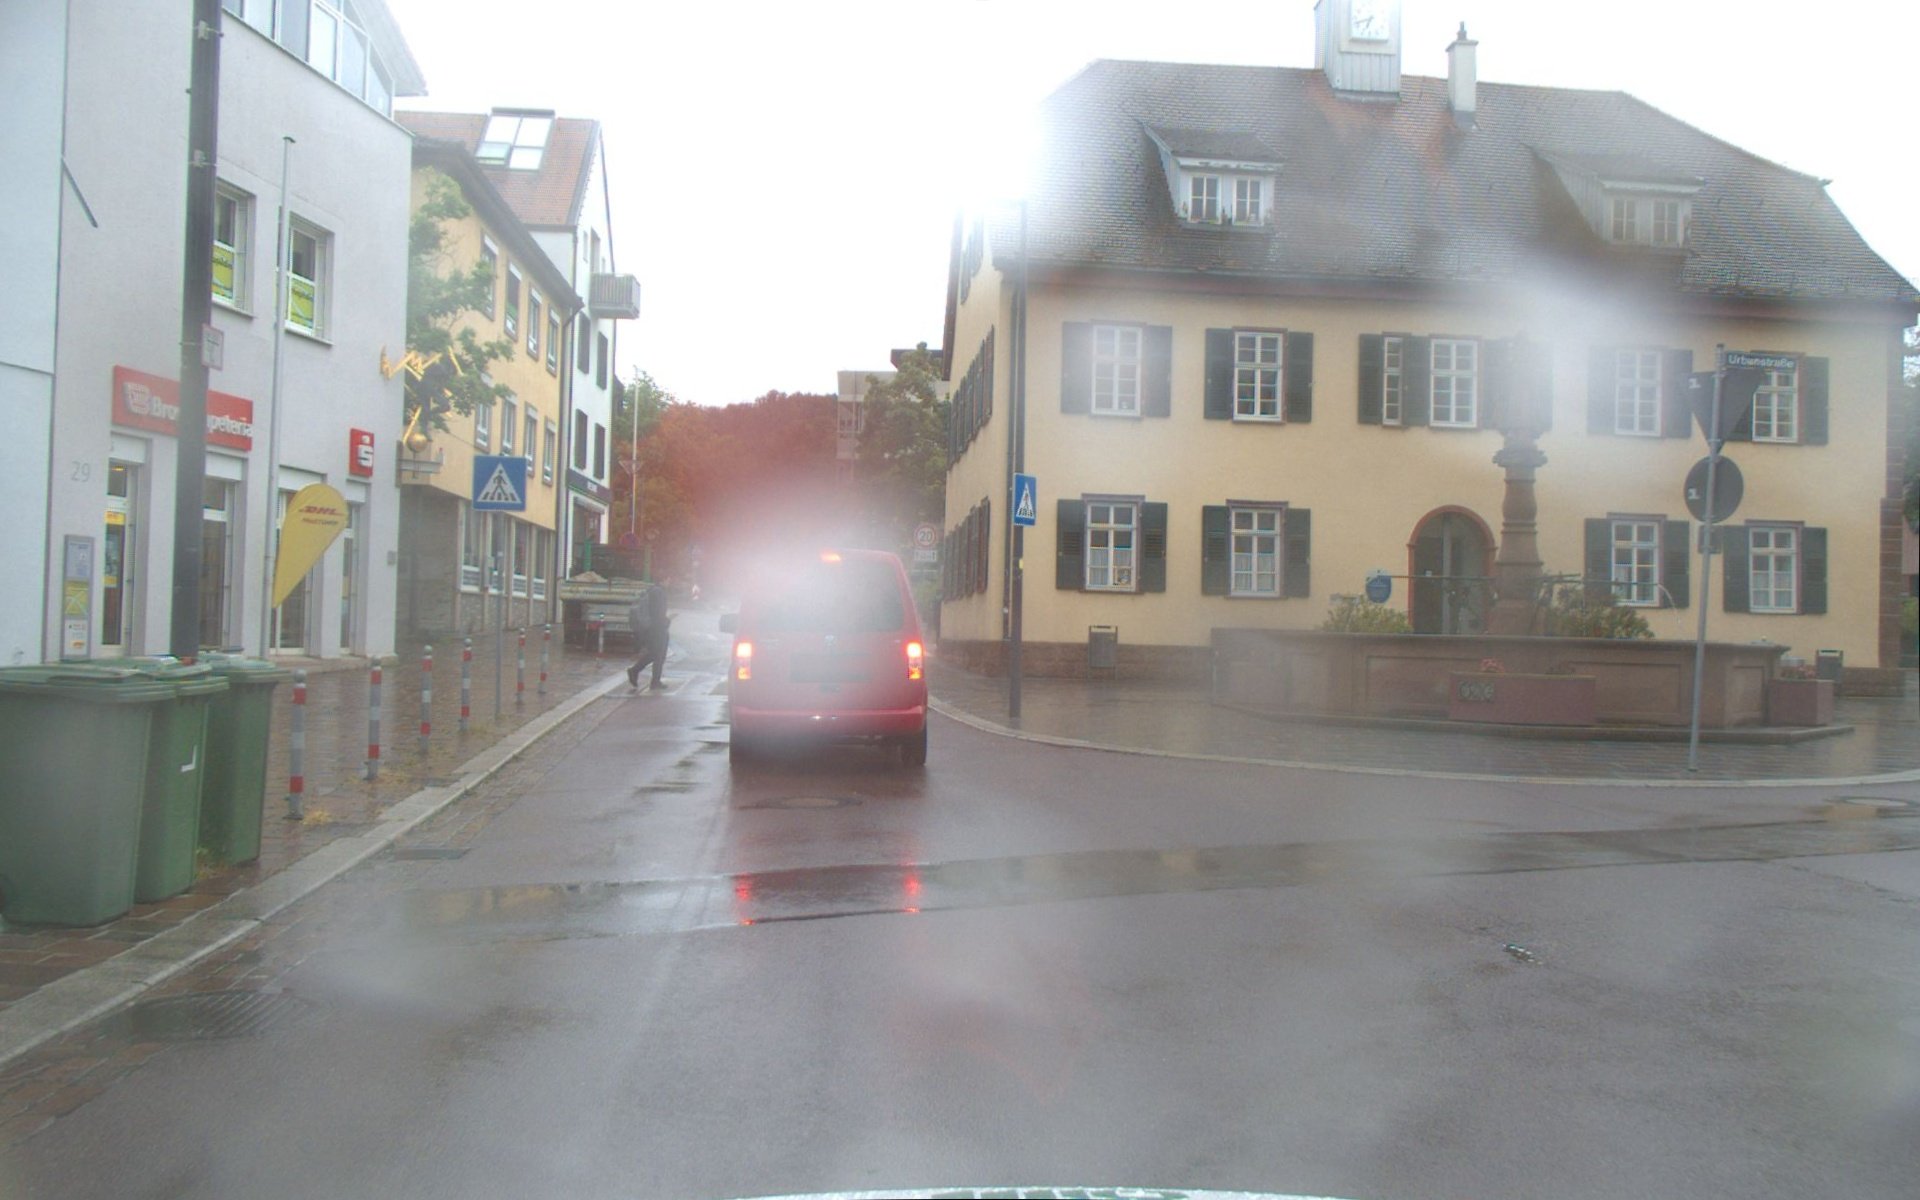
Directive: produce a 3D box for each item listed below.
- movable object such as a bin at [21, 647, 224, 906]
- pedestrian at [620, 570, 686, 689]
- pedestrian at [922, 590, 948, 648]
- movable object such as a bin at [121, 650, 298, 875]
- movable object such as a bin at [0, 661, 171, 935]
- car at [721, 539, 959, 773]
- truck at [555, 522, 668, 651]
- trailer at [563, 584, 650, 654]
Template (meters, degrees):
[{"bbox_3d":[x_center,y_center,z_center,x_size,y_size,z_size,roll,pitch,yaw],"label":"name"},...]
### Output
[{"bbox_3d":[-3.866,0.796,7.669,0.645,1.134,0.552,1,0,-2],"label":"movable object such as a bin"},{"bbox_3d":[-4.552,0.426,24.549,0.848,1.722,0.716,1,0,-5],"label":"pedestrian"},{"bbox_3d":[-0.717,0.536,47.043,0.713,1.645,0.693,1,0,-3],"label":"pedestrian"},{"bbox_3d":[-3.914,0.831,8.665,0.645,1.115,0.613,1,0,-3],"label":"movable object such as a bin"},{"bbox_3d":[-3.842,0.827,7.086,0.645,1.101,0.552,1,0,-2],"label":"movable object such as a bin"},{"bbox_3d":[-1.252,0.443,15.375,1.828,1.862,4.176,0,0,-10],"label":"car"},{"bbox_3d":[-8.376,-0.368,40.178,2.429,2.843,6.584,1,1,-10],"label":"truck"},{"bbox_3d":[-7.526,0.371,35.400,1.697,1.370,3.153,1,1,-11],"label":"trailer"}]
